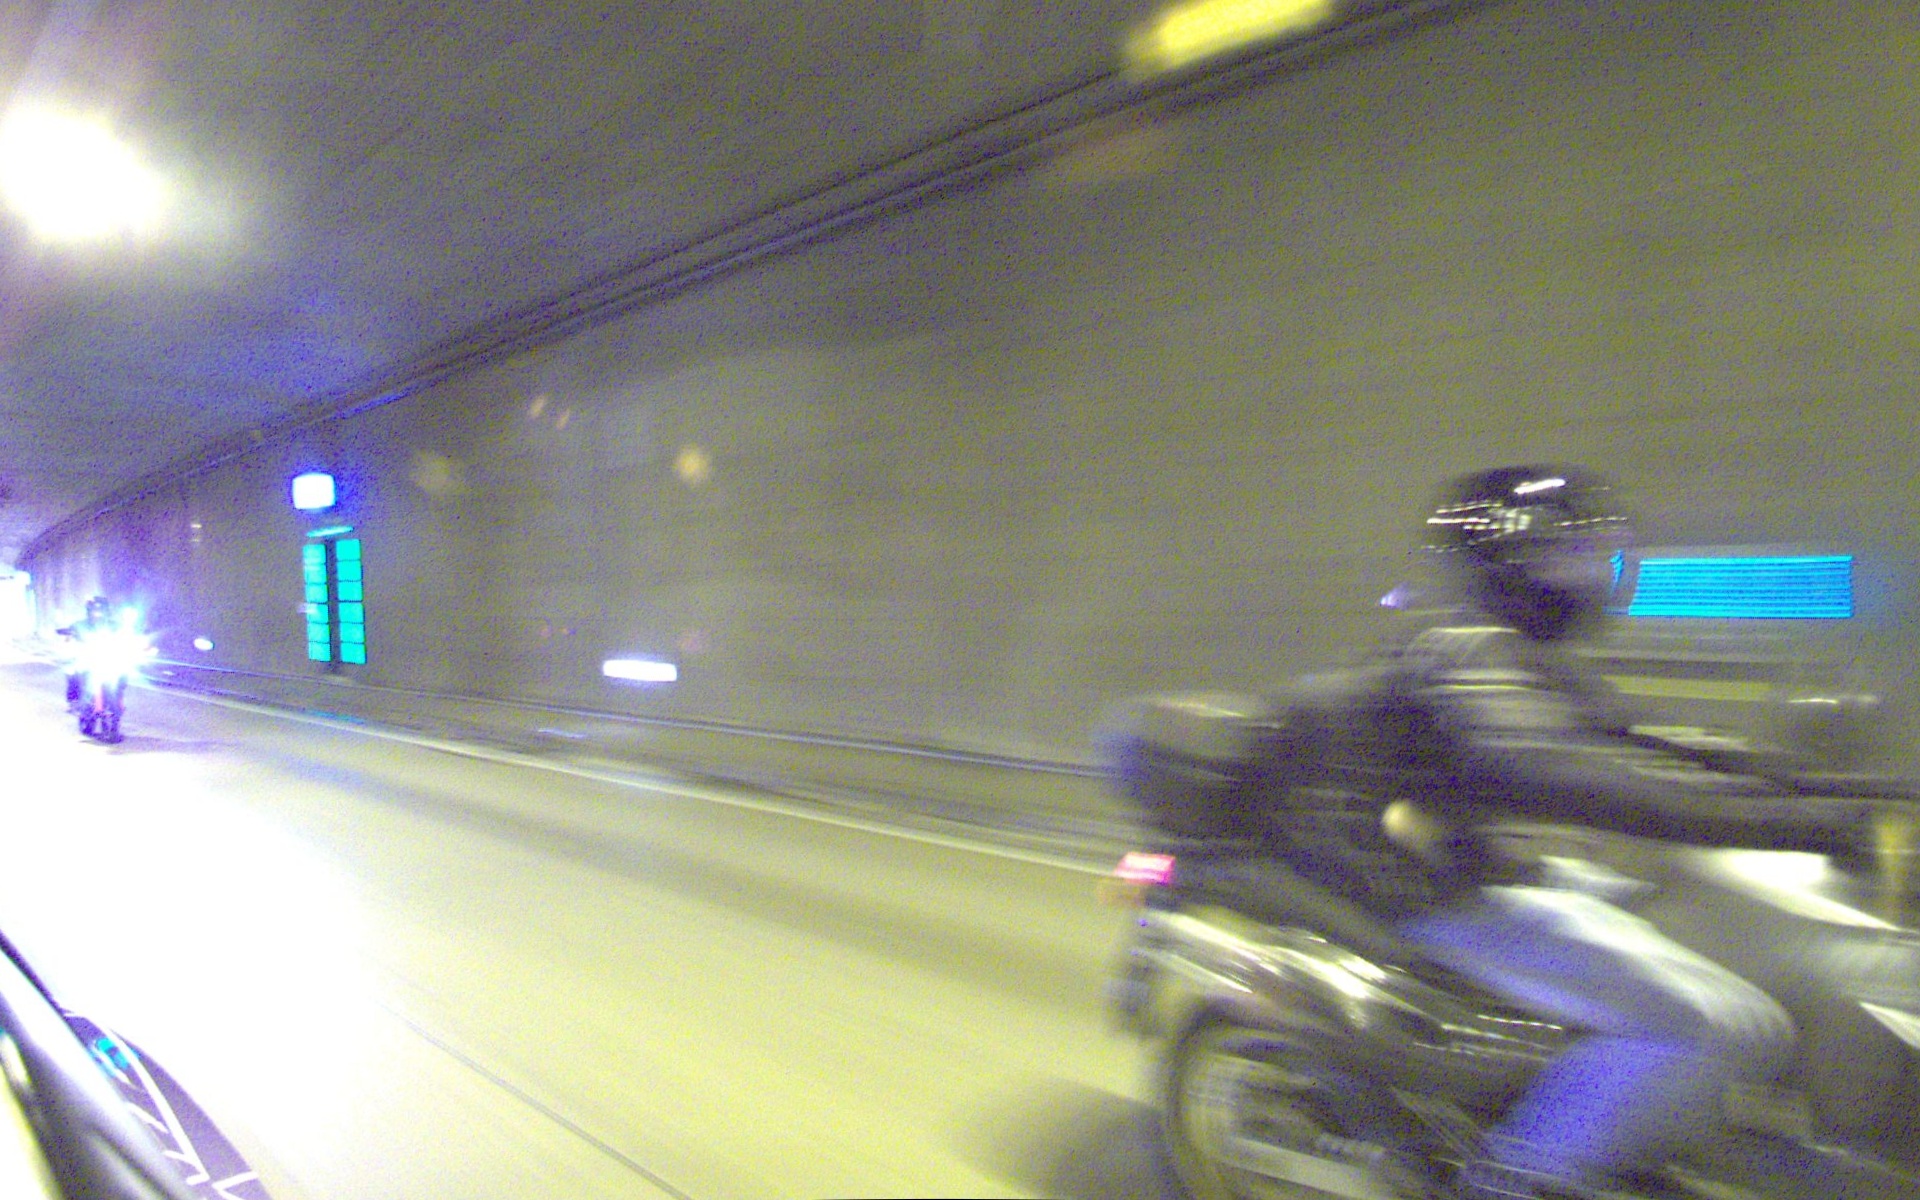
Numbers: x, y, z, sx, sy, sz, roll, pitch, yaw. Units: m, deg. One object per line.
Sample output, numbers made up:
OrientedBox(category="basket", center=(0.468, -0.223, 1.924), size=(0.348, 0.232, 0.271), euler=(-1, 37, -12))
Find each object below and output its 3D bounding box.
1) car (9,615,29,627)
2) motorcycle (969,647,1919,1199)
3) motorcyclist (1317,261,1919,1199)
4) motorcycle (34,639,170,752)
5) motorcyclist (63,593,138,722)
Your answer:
OrientedBox(category="car", center=(-146.402, 3.294, 157.479), size=(1.969, 1.812, 4.007), euler=(-1, 1, -40))
OrientedBox(category="motorcycle", center=(1.285, 0.749, 1.522), size=(2.602, 1.255, 0.837), euler=(0, 0, 39))
OrientedBox(category="motorcyclist", center=(1.142, 0.368, 1.627), size=(0.821, 1.488, 0.831), euler=(-1, -1, 39))
OrientedBox(category="motorcycle", center=(-10.368, 1.079, 12.192), size=(2.429, 1.166, 1.041), euler=(-1, -1, 45))
OrientedBox(category="motorcyclist", center=(-10.439, 0.677, 12.294), size=(0.891, 1.500, 0.620), euler=(-1, -1, 45))
